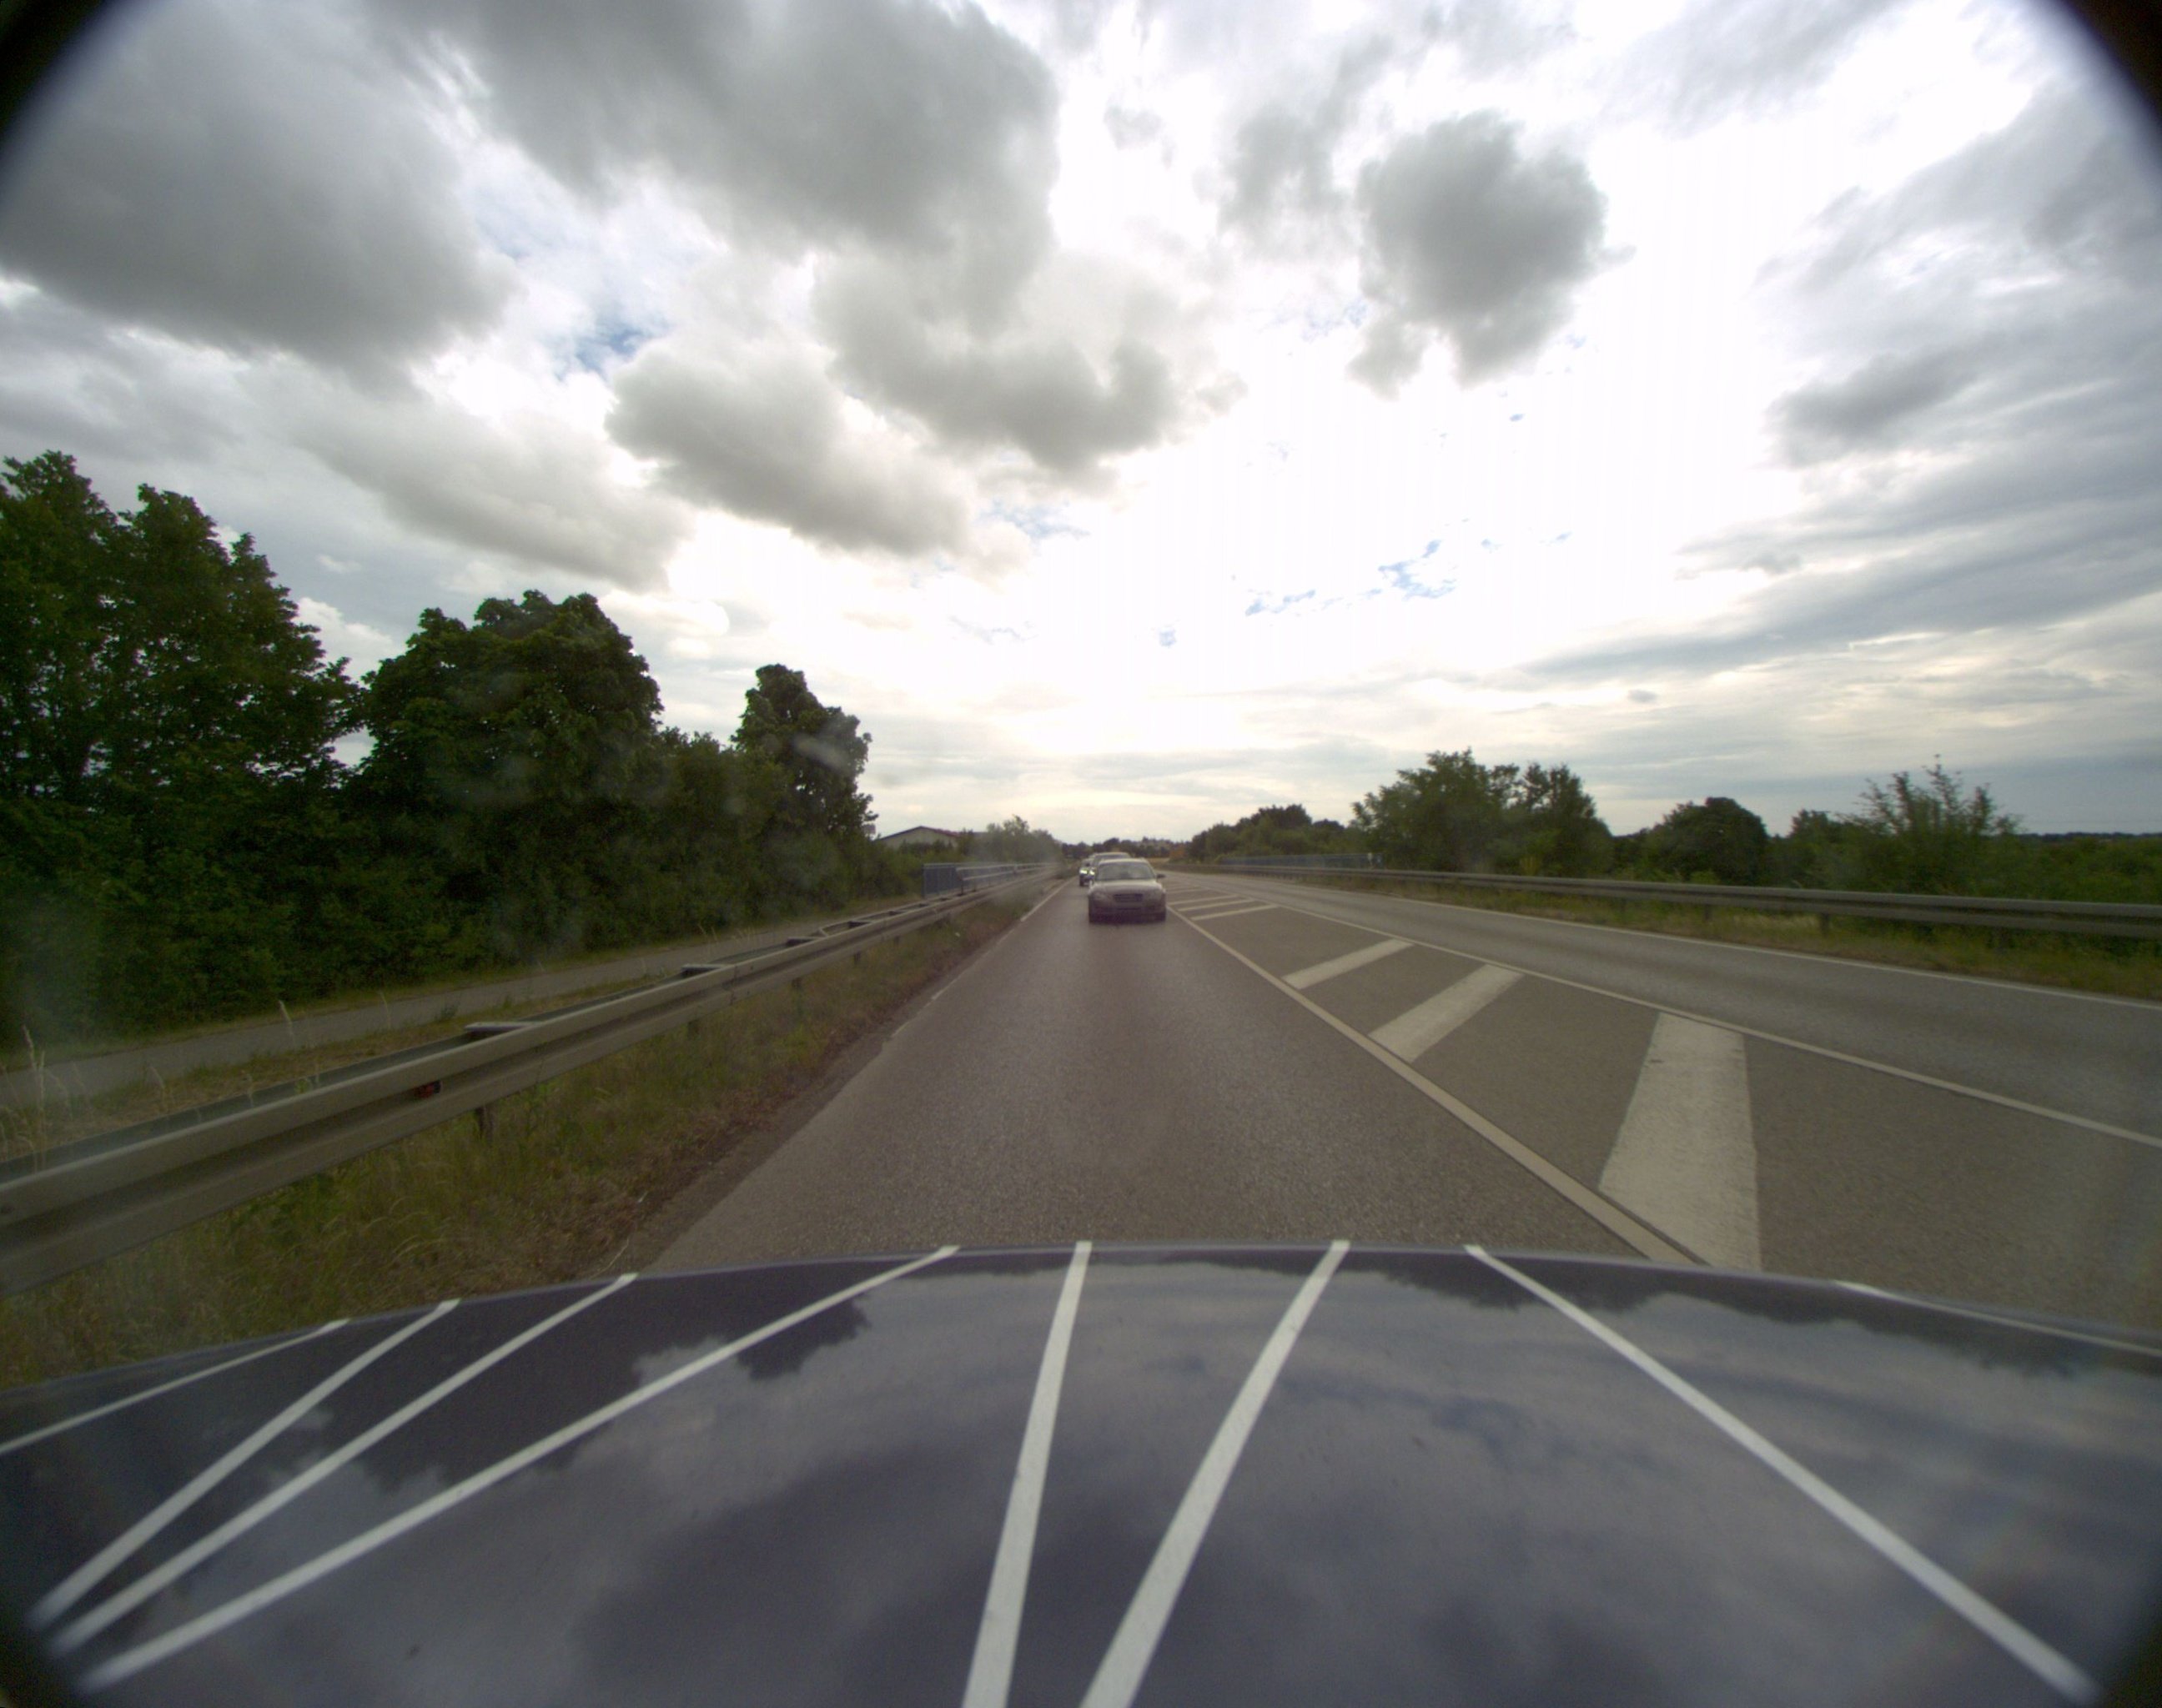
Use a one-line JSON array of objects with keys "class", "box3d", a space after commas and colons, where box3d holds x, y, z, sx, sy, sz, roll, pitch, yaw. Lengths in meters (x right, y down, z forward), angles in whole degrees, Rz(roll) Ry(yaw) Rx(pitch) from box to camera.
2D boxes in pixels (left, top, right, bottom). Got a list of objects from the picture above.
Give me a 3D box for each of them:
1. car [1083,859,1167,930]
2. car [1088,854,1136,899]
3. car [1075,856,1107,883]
[{"class": "car", "box3d": [0.967, 0.893, 18.274, 1.768, 1.383, 3.876, -2, 1, 1]}, {"class": "car", "box3d": [1.155, 0.811, 29.397, 1.684, 1.521, 4.000, -2, 0, 1]}, {"class": "car", "box3d": [0.560, 0.858, 42.833, 1.670, 1.339, 4.000, -2, 0, 1]}]
